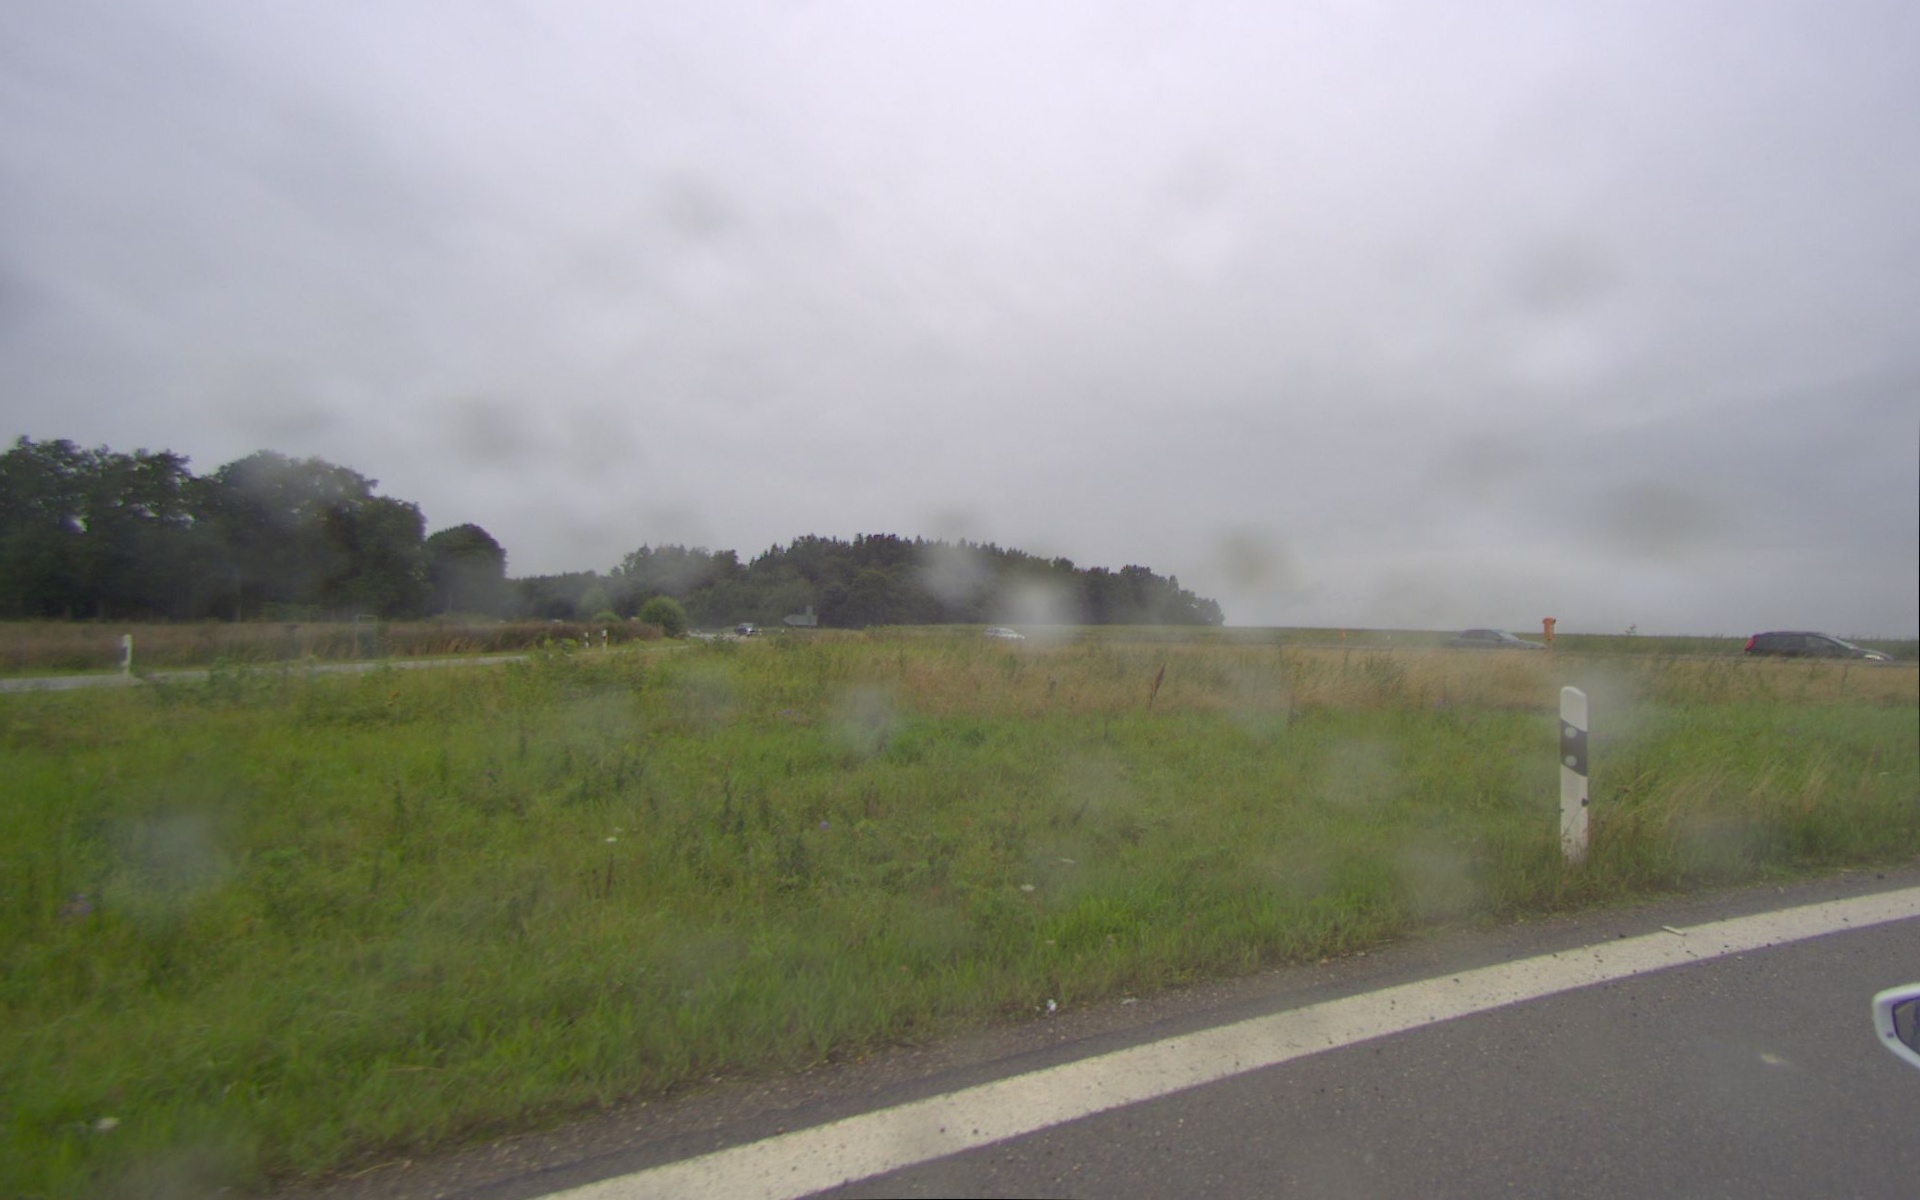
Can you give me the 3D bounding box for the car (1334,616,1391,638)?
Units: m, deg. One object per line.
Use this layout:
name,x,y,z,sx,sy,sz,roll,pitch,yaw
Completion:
car,32.264,2.156,80.628,1.718,1.759,3.961,1,-2,-35

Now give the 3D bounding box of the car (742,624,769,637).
car,-27.418,4.088,134.550,1.849,1.655,5.054,2,-2,-33

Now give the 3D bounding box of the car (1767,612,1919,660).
car,33.284,1.287,37.454,2.128,1.658,4.556,1,-1,-31
